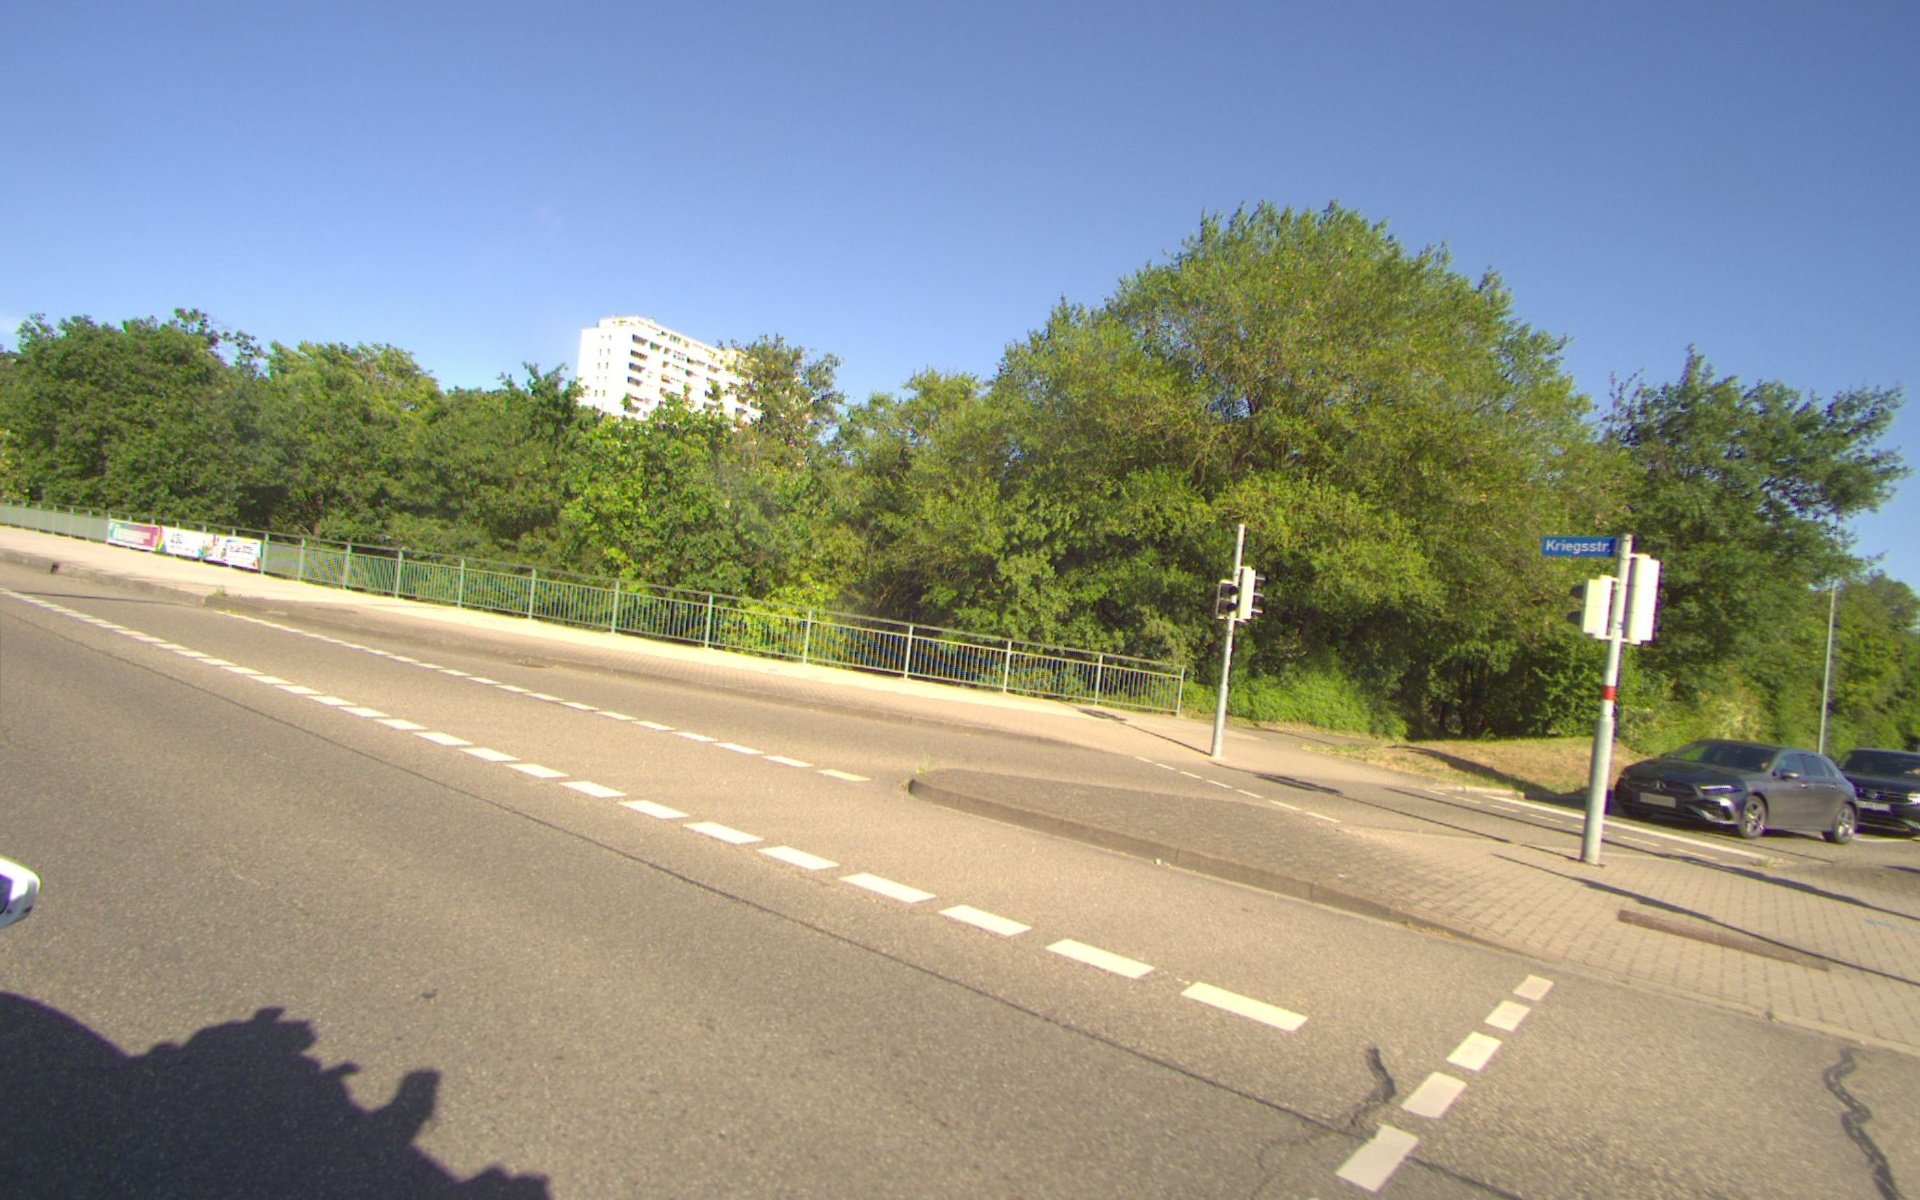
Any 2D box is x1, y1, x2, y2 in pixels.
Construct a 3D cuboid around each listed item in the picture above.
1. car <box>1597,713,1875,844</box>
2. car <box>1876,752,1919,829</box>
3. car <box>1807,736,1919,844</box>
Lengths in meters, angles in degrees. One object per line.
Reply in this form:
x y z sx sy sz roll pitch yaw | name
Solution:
12.399 2.863 16.051 4.196 1.570 1.848 8 -1 -28 | car
23.760 4.668 24.416 4.650 1.635 1.838 8 -1 -44 | car
18.361 3.693 19.673 4.643 1.635 1.841 8 -1 -39 | car
